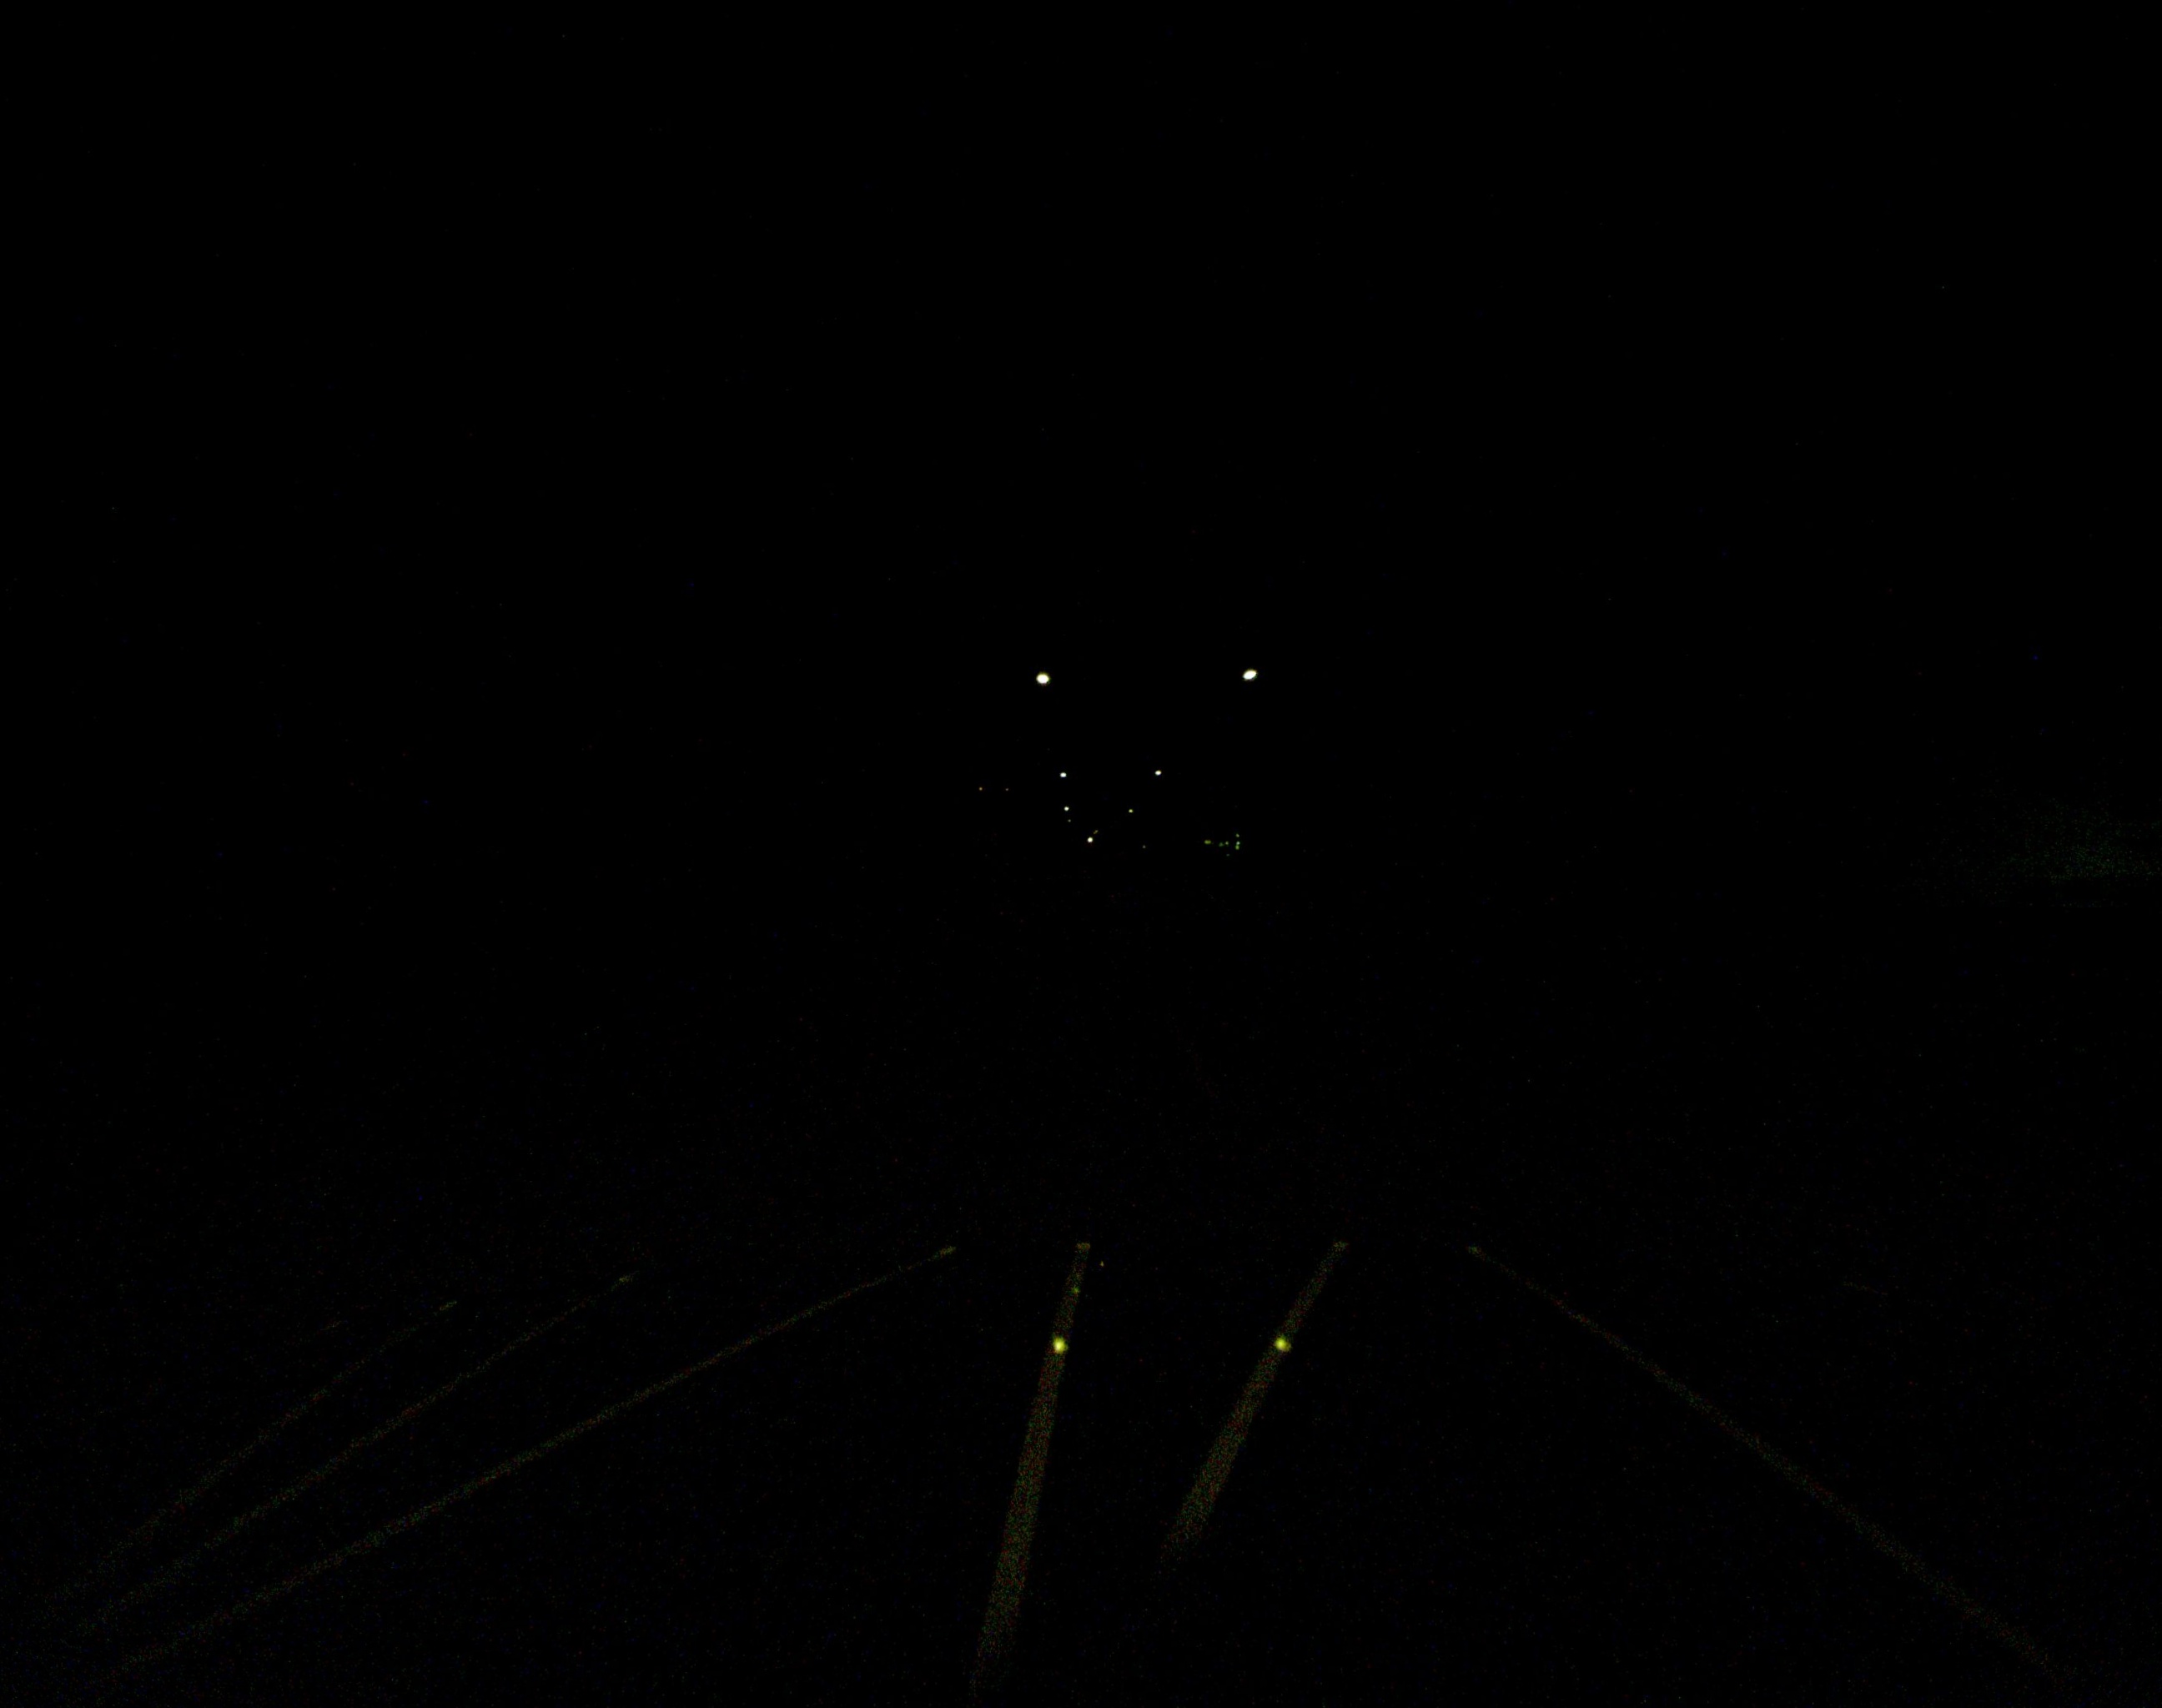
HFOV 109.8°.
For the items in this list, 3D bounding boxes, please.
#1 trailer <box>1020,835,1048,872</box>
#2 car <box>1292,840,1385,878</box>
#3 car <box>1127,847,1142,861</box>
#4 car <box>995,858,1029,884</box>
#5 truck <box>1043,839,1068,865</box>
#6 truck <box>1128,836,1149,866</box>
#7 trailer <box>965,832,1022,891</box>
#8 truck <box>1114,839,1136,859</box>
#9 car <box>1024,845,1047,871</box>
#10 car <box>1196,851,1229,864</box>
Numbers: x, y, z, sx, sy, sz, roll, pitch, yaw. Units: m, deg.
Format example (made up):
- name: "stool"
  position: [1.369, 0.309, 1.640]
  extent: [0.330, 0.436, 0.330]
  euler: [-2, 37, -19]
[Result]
- name: "trailer"
  position: [-4.404, -0.048, 71.701]
  extent: [2.405, 3.306, 4.361]
  euler: [-2, 0, -3]
- name: "car"
  position: [14.261, 0.263, 42.243]
  extent: [4.443, 1.960, 2.000]
  euler: [-2, 0, -1]
- name: "car"
  position: [8.780, -0.003, 125.088]
  extent: [2.145, 2.299, 4.468]
  euler: [-2, 0, 1]
- name: "car"
  position: [-4.068, 0.969, 45.357]
  extent: [1.731, 1.378, 4.675]
  euler: [-2, 0, -2]
- name: "truck"
  position: [-4.010, -0.322, 123.943]
  extent: [2.515, 3.815, 12.662]
  euler: [-1, 0, 5]
- name: "truck"
  position: [8.638, -0.517, 115.775]
  extent: [2.644, 4.290, 12.823]
  euler: [1, 1, 2]
- name: "trailer"
  position: [-4.141, 0.349, 36.624]
  extent: [1.998, 2.635, 4.001]
  euler: [-1, 0, 3]
- name: "truck"
  position: [8.170, -0.939, 143.541]
  extent: [2.829, 3.610, 10.397]
  euler: [-2, 0, -4]
- name: "car"
  position: [-4.617, 0.376, 78.066]
  extent: [1.945, 2.533, 6.646]
  euler: [-2, 0, 0]
- name: "car"
  position: [17.767, 0.429, 102.397]
  extent: [3.998, 1.455, 1.806]
  euler: [-4, 0, -3]
